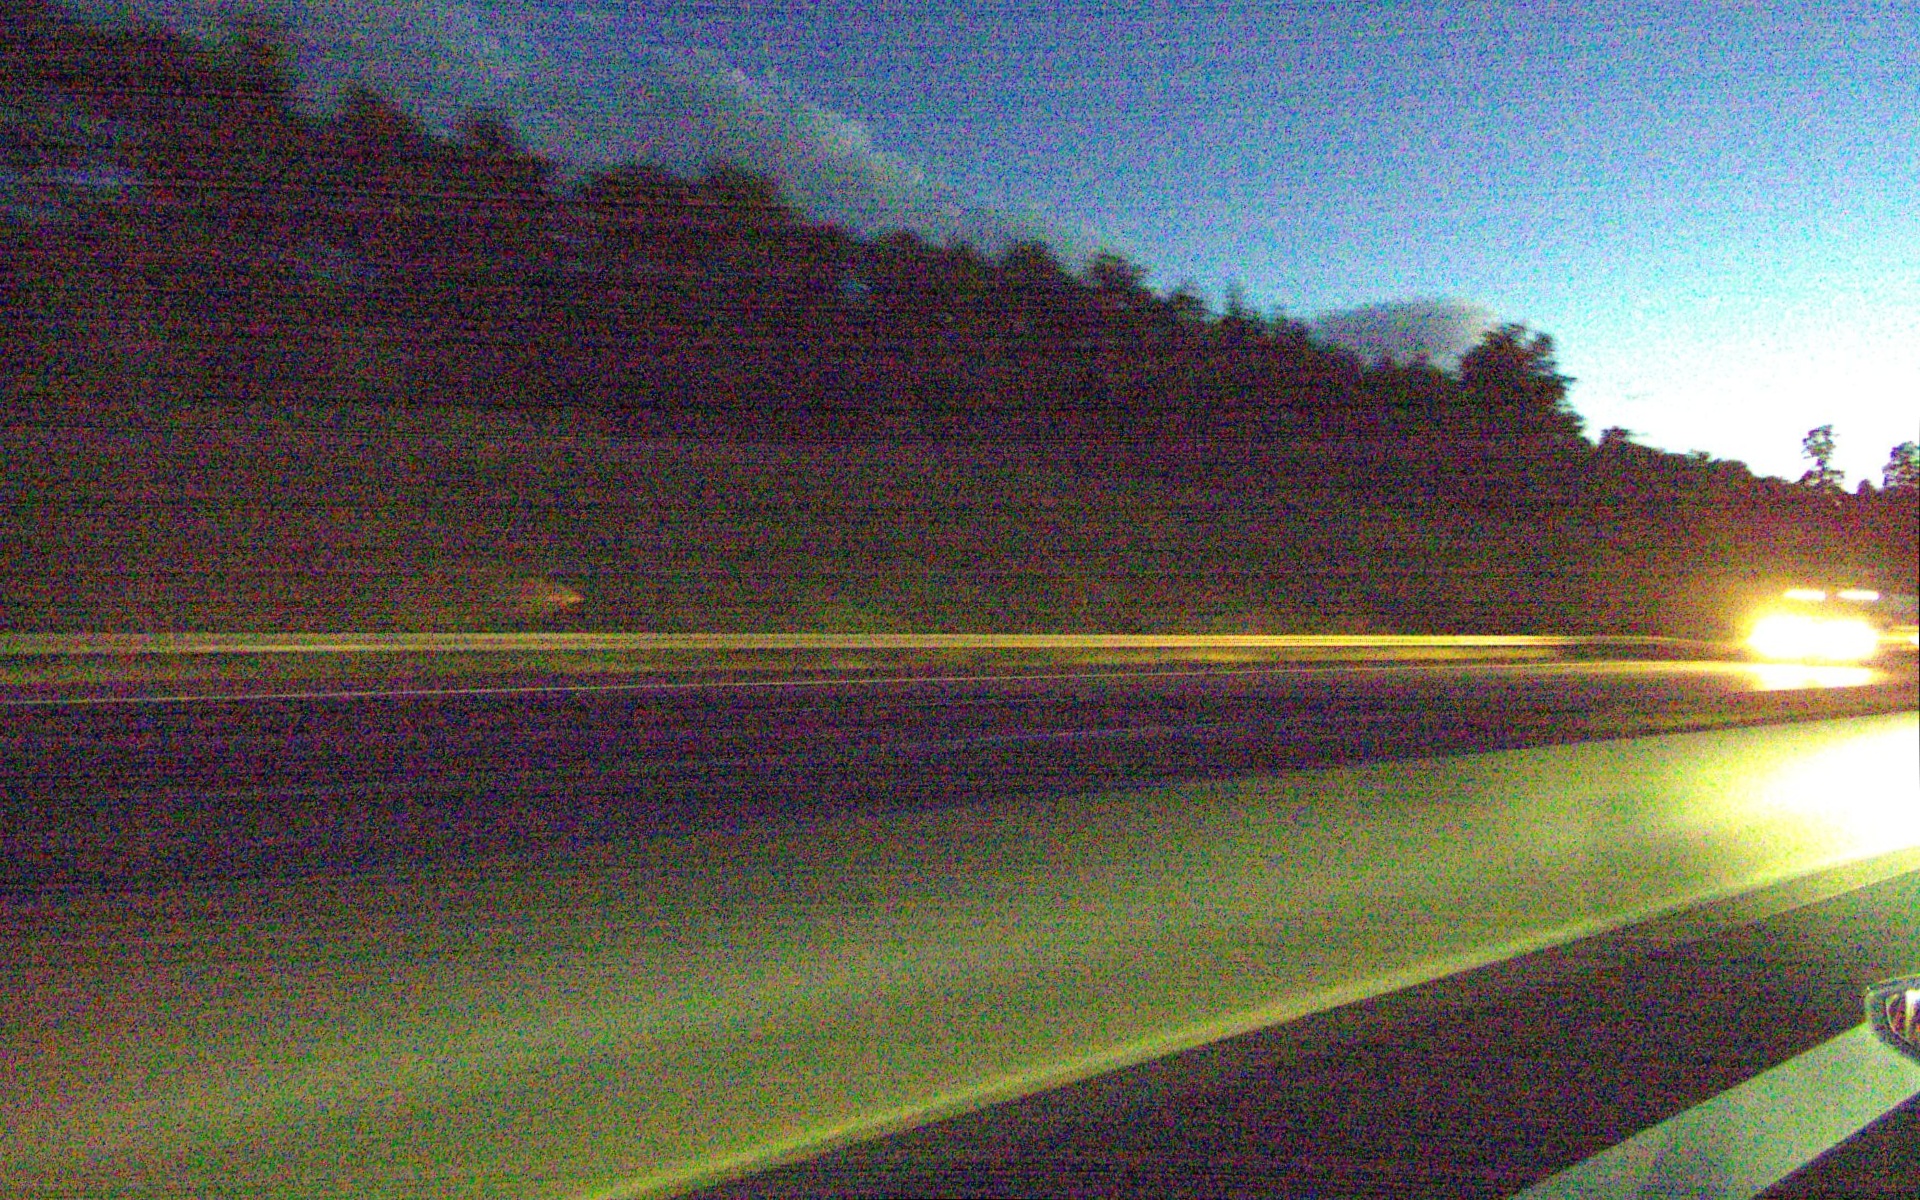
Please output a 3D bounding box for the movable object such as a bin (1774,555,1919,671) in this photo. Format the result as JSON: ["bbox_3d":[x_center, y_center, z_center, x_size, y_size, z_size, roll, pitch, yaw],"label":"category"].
[{"bbox_3d":[32.201,0.497,35.886,7.595,3.819,2.282,1,0,-30],"label":"movable object such as a bin"}]
